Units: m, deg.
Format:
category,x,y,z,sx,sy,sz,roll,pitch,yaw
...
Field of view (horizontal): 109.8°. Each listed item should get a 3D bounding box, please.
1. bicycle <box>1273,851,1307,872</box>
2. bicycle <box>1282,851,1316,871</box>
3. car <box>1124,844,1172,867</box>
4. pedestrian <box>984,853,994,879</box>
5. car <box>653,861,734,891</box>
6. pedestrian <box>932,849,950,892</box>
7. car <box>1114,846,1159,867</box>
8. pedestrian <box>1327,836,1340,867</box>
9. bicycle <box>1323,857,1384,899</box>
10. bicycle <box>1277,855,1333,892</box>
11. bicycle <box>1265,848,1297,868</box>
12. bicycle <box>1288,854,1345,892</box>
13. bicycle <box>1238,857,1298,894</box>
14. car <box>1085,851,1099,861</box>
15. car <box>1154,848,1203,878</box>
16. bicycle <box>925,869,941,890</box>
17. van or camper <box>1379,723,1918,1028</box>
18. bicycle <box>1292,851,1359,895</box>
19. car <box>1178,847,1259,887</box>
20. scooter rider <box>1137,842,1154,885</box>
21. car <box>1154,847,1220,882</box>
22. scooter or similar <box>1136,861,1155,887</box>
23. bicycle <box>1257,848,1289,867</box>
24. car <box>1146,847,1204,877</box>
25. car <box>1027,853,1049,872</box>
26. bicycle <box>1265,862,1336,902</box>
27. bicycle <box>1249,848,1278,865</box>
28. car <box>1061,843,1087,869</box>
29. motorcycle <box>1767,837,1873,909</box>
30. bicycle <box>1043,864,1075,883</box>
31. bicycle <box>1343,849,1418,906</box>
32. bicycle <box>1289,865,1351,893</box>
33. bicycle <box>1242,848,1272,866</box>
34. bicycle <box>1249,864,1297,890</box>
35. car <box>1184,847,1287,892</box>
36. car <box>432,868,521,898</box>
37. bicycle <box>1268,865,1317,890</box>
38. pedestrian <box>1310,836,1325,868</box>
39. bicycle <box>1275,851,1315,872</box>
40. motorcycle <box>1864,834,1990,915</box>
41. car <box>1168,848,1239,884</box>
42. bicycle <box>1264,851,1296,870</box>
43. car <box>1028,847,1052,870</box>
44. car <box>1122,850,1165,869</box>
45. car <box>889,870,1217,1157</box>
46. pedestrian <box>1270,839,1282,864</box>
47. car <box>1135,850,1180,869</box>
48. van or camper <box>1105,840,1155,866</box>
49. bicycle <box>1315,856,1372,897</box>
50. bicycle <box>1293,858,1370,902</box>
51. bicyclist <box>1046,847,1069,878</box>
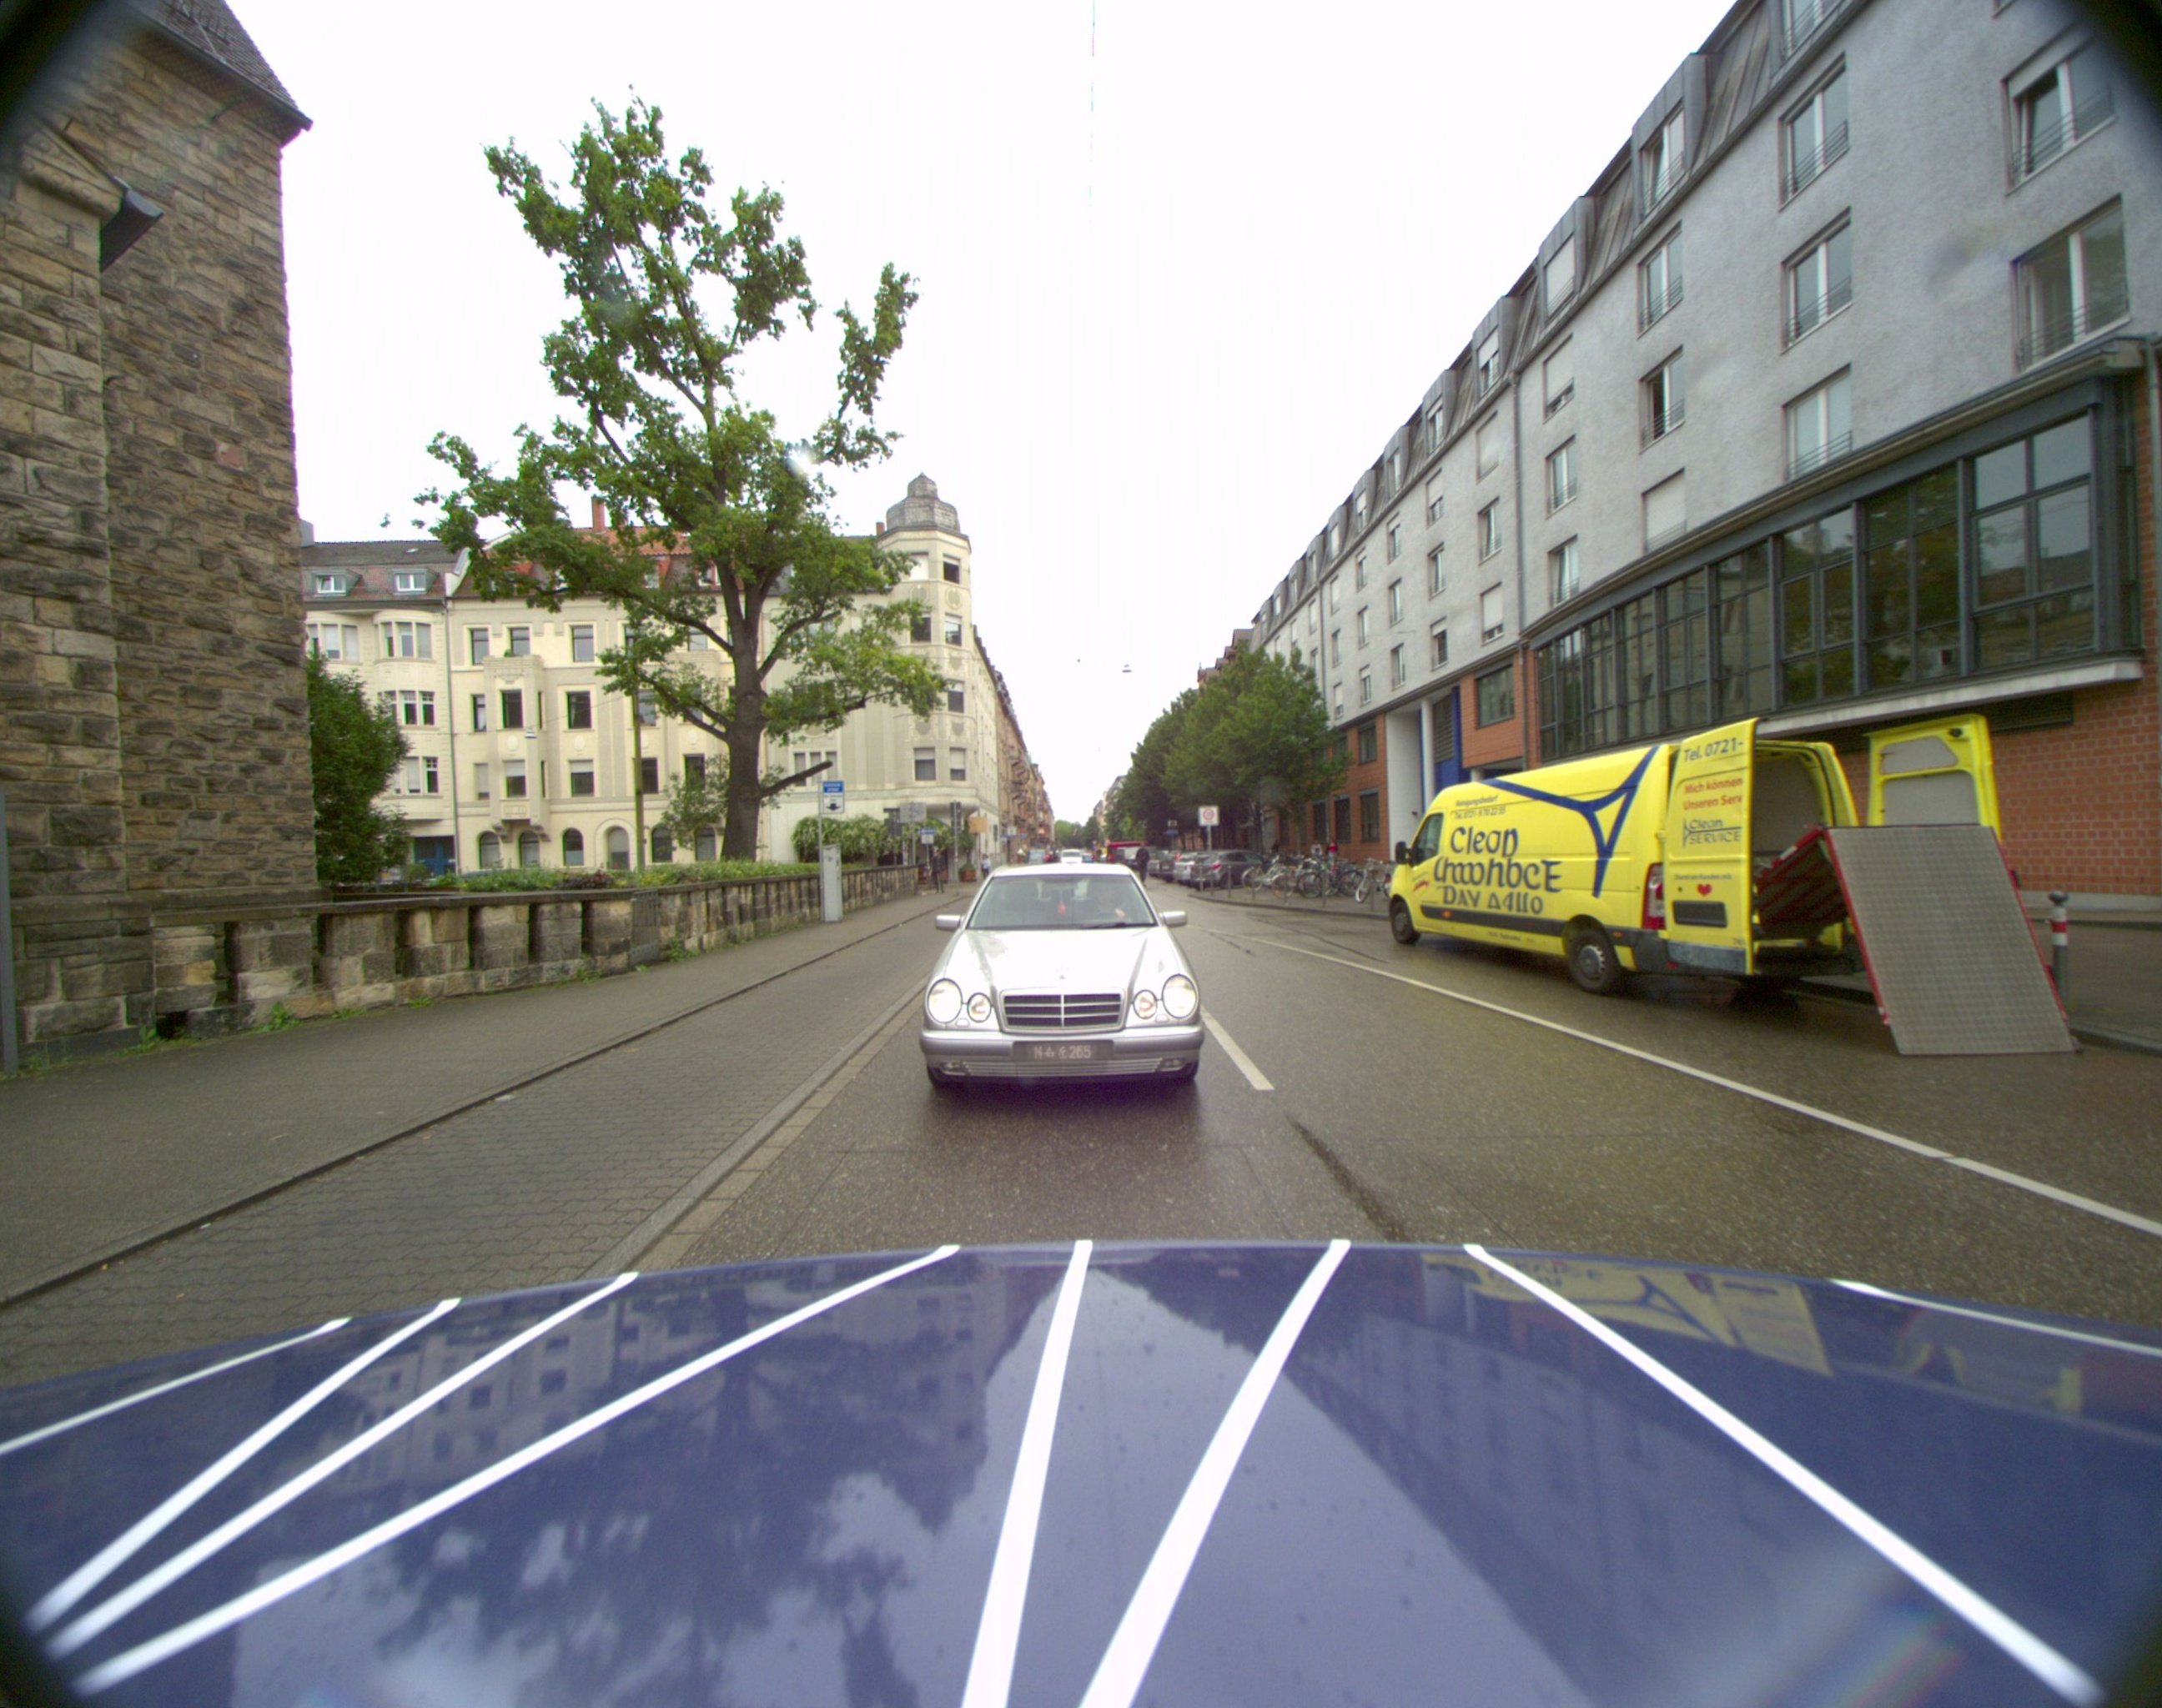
category,x,y,z,sx,sy,sz,roll,pitch,yaw
bicycle,10.475,0.379,38.101,1.590,0.979,0.445,-2,1,-8
bicycle,11.099,0.359,38.645,1.590,0.979,0.445,-2,1,-8
car,5.977,0.123,67.151,4.338,1.884,1.685,-1,1,-41
pedestrian,-5.049,0.653,41.728,0.482,1.452,0.392,-1,1,-1
car,-19.290,1.083,37.859,3.270,1.401,1.448,-1,1,3
pedestrian,-6.032,0.701,32.742,0.646,1.862,0.693,-1,1,0
car,5.188,0.223,70.663,4.338,1.822,1.571,-1,1,-41
pedestrian,12.887,-0.128,38.790,0.514,1.601,0.425,-2,1,1
bicycle,7.492,0.652,20.911,1.462,1.058,0.418,-3,1,4
bicycle,7.206,0.612,24.435,1.610,1.099,0.520,-3,1,-5
bicycle,10.677,0.215,40.635,1.590,0.979,0.445,-2,1,-8
bicycle,7.375,0.586,23.790,1.611,1.099,0.519,-3,1,-13
bicycle,6.140,0.689,24.933,1.812,1.099,0.472,-3,1,-5
car,1.411,0.248,98.164,1.651,1.301,3.311,-1,0,-3
car,5.248,0.486,40.778,2.506,1.442,1.191,-3,1,-40
bicycle,-7.313,1.241,37.665,0.390,0.888,2.023,-1,3,0
van or camper,6.061,0.168,9.502,2.202,2.596,5.941,-1,0,-1
bicycle,7.255,0.564,22.542,1.815,1.187,0.519,-3,1,-13
car,5.792,0.543,31.978,3.083,1.494,1.449,-3,1,-31
scooter rider,2.942,0.435,34.775,0.712,1.924,0.503,-1,1,-2
car,5.240,0.491,37.471,3.084,1.543,1.449,-3,1,-40
scooter or similar,2.953,0.897,34.749,0.702,1.158,1.385,-1,1,-2
bicycle,10.560,0.197,41.800,1.590,0.979,0.465,-2,1,-8
car,5.360,0.461,43.211,2.985,1.546,1.369,-3,1,-29
car,-3.139,0.637,56.431,1.447,1.348,3.204,-1,0,0
bicycle,6.131,0.769,21.243,1.800,0.987,0.520,-3,1,-2
bicycle,10.791,0.137,44.970,1.590,0.979,0.465,-2,1,-8
car,-0.579,0.139,62.597,1.998,2.002,4.000,-1,1,1
motorcycle,13.068,0.294,13.508,0.524,1.174,2.006,-3,1,19
bicycle,-1.105,0.964,38.560,0.535,0.879,1.784,-1,1,39
bicycle,7.509,0.568,19.002,1.922,1.209,0.768,-6,3,-35
bicycle,7.271,0.755,23.133,1.773,0.757,0.456,-3,1,-13
bicycle,10.206,0.165,44.074,1.590,0.979,0.465,-2,1,-8
bicycle,6.560,0.792,26.006,1.473,0.800,0.497,-3,1,3
car,5.917,0.543,29.051,3.629,1.494,1.736,-3,2,-31
car,-29.733,1.418,37.412,3.270,1.401,1.448,-1,1,3
bicycle,7.040,0.785,25.378,1.473,0.717,0.497,-3,1,3
pedestrian,12.188,-0.096,39.140,0.605,1.601,0.372,-2,1,-1
bicycle,10.603,0.385,37.628,1.851,0.979,0.445,-2,1,-8
motorcycle,13.278,0.289,11.987,0.524,1.174,1.760,-3,1,19
car,5.601,0.535,34.586,3.084,1.494,1.449,-3,1,-40
bicycle,10.467,0.342,40.016,1.590,0.979,0.445,-2,1,-8
car,-3.310,0.318,61.499,1.726,1.794,3.462,-1,0,0
car,5.190,0.447,62.920,1.685,1.482,3.799,0,1,40
car,-0.151,0.920,6.174,1.764,1.420,3.999,-2,0,0
pedestrian,12.347,-0.163,48.146,0.571,1.588,0.533,-2,1,1
car,6.128,0.418,60.404,1.685,1.482,3.799,0,1,40
van or camper,4.963,-0.124,76.584,4.604,2.597,1.999,-1,1,-27
bicycle,7.473,0.630,21.685,1.461,1.096,0.462,-3,1,14
bicycle,6.708,0.694,20.405,1.858,1.067,0.609,-3,1,5
bicyclist,-1.172,0.415,38.463,0.535,1.521,1.137,-1,1,39
